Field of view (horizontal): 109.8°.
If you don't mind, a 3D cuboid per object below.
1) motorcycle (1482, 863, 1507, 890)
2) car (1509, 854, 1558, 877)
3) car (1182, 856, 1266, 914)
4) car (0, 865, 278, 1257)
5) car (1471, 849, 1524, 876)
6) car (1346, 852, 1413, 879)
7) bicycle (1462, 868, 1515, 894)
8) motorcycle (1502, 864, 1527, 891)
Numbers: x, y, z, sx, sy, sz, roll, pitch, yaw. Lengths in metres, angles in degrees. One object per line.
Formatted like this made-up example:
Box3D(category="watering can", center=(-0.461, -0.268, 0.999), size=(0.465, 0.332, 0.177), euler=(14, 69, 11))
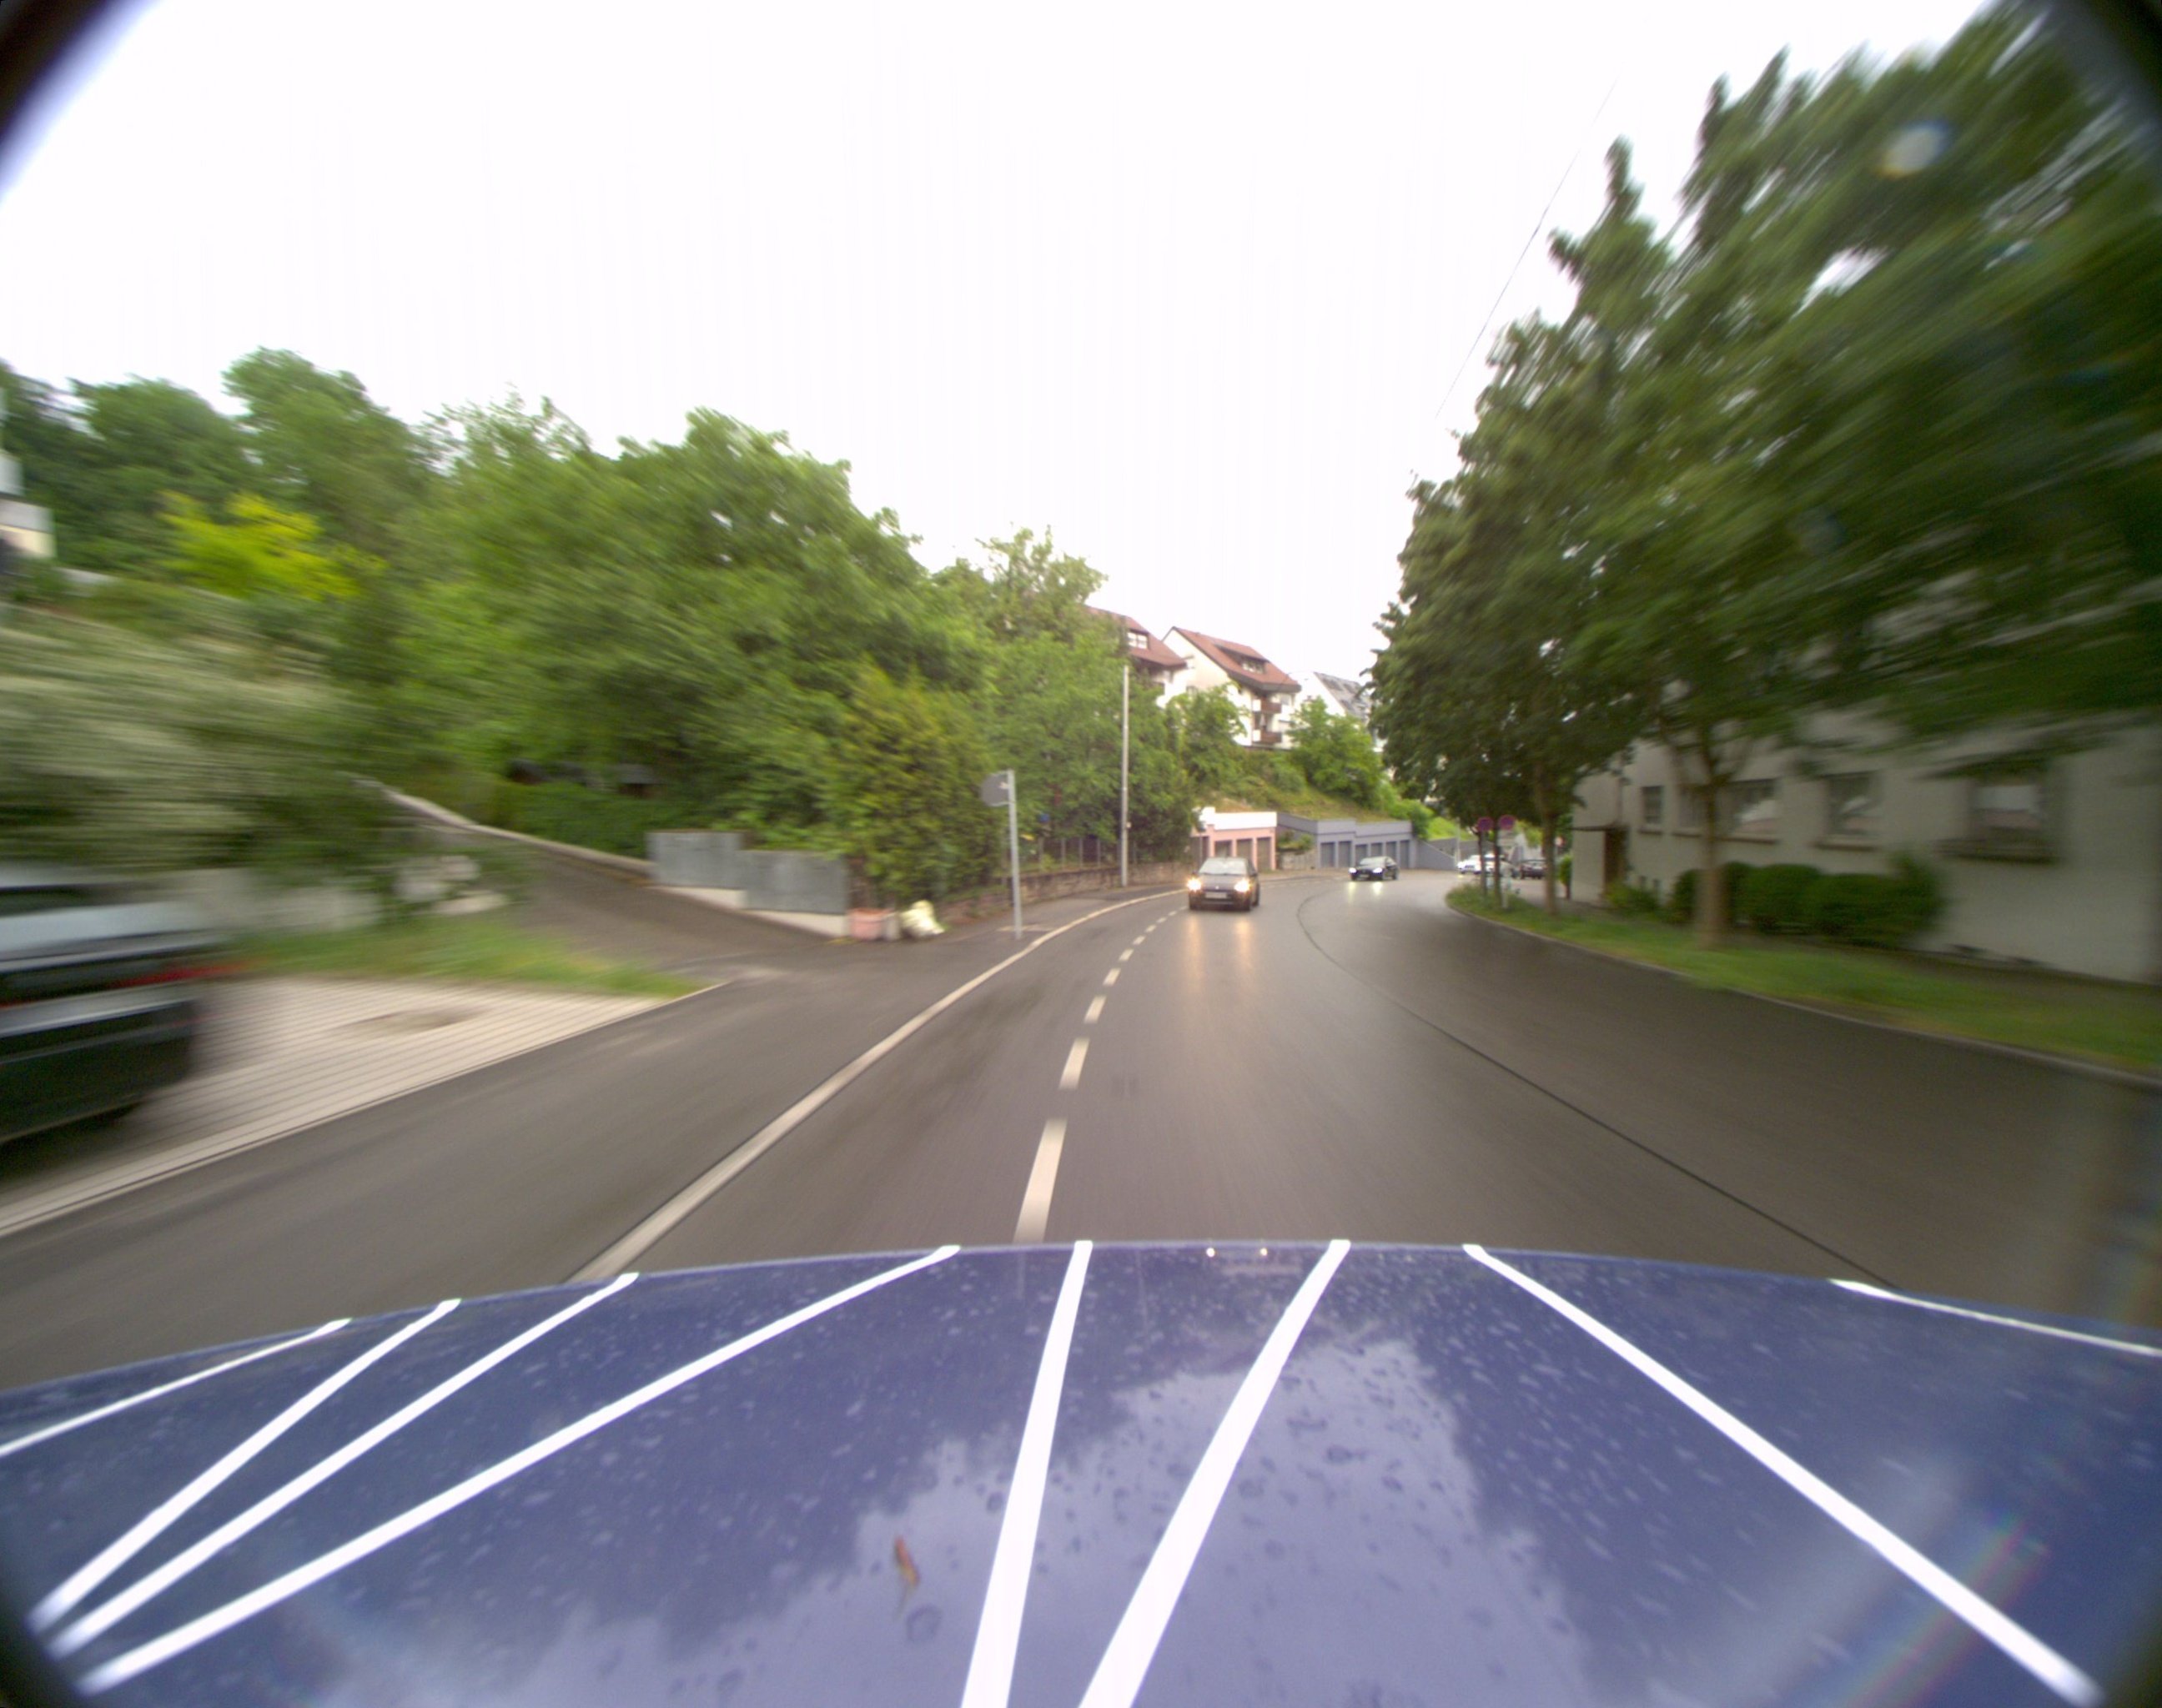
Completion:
Box3D(category="motorcycle", center=(19.430, 1.044, 35.684), size=(1.402, 1.197, 0.557), euler=(0, 1, -40))
Box3D(category="car", center=(30.232, 0.750, 50.870), size=(1.995, 1.383, 4.203), euler=(1, 1, 19))
Box3D(category="car", center=(4.170, 0.809, 21.663), size=(1.695, 1.456, 4.006), euler=(1, 1, 20))
Box3D(category="car", center=(-6.462, 0.804, 3.228), size=(4.180, 1.499, 1.740), euler=(2, 2, -1))
Box3D(category="car", center=(30.615, 0.635, 55.783), size=(4.705, 1.778, 1.984), euler=(2, 2, -44))
Box3D(category="car", center=(17.763, 0.642, 45.109), size=(4.219, 1.502, 1.994), euler=(0, 0, -42))
Box3D(category="bicycle", center=(17.941, 1.197, 33.509), size=(1.964, 1.054, 0.755), euler=(1, 1, 21))
Box3D(category="motorcycle", center=(20.267, 1.106, 35.502), size=(1.308, 1.221, 0.552), euler=(0, 1, -40))
